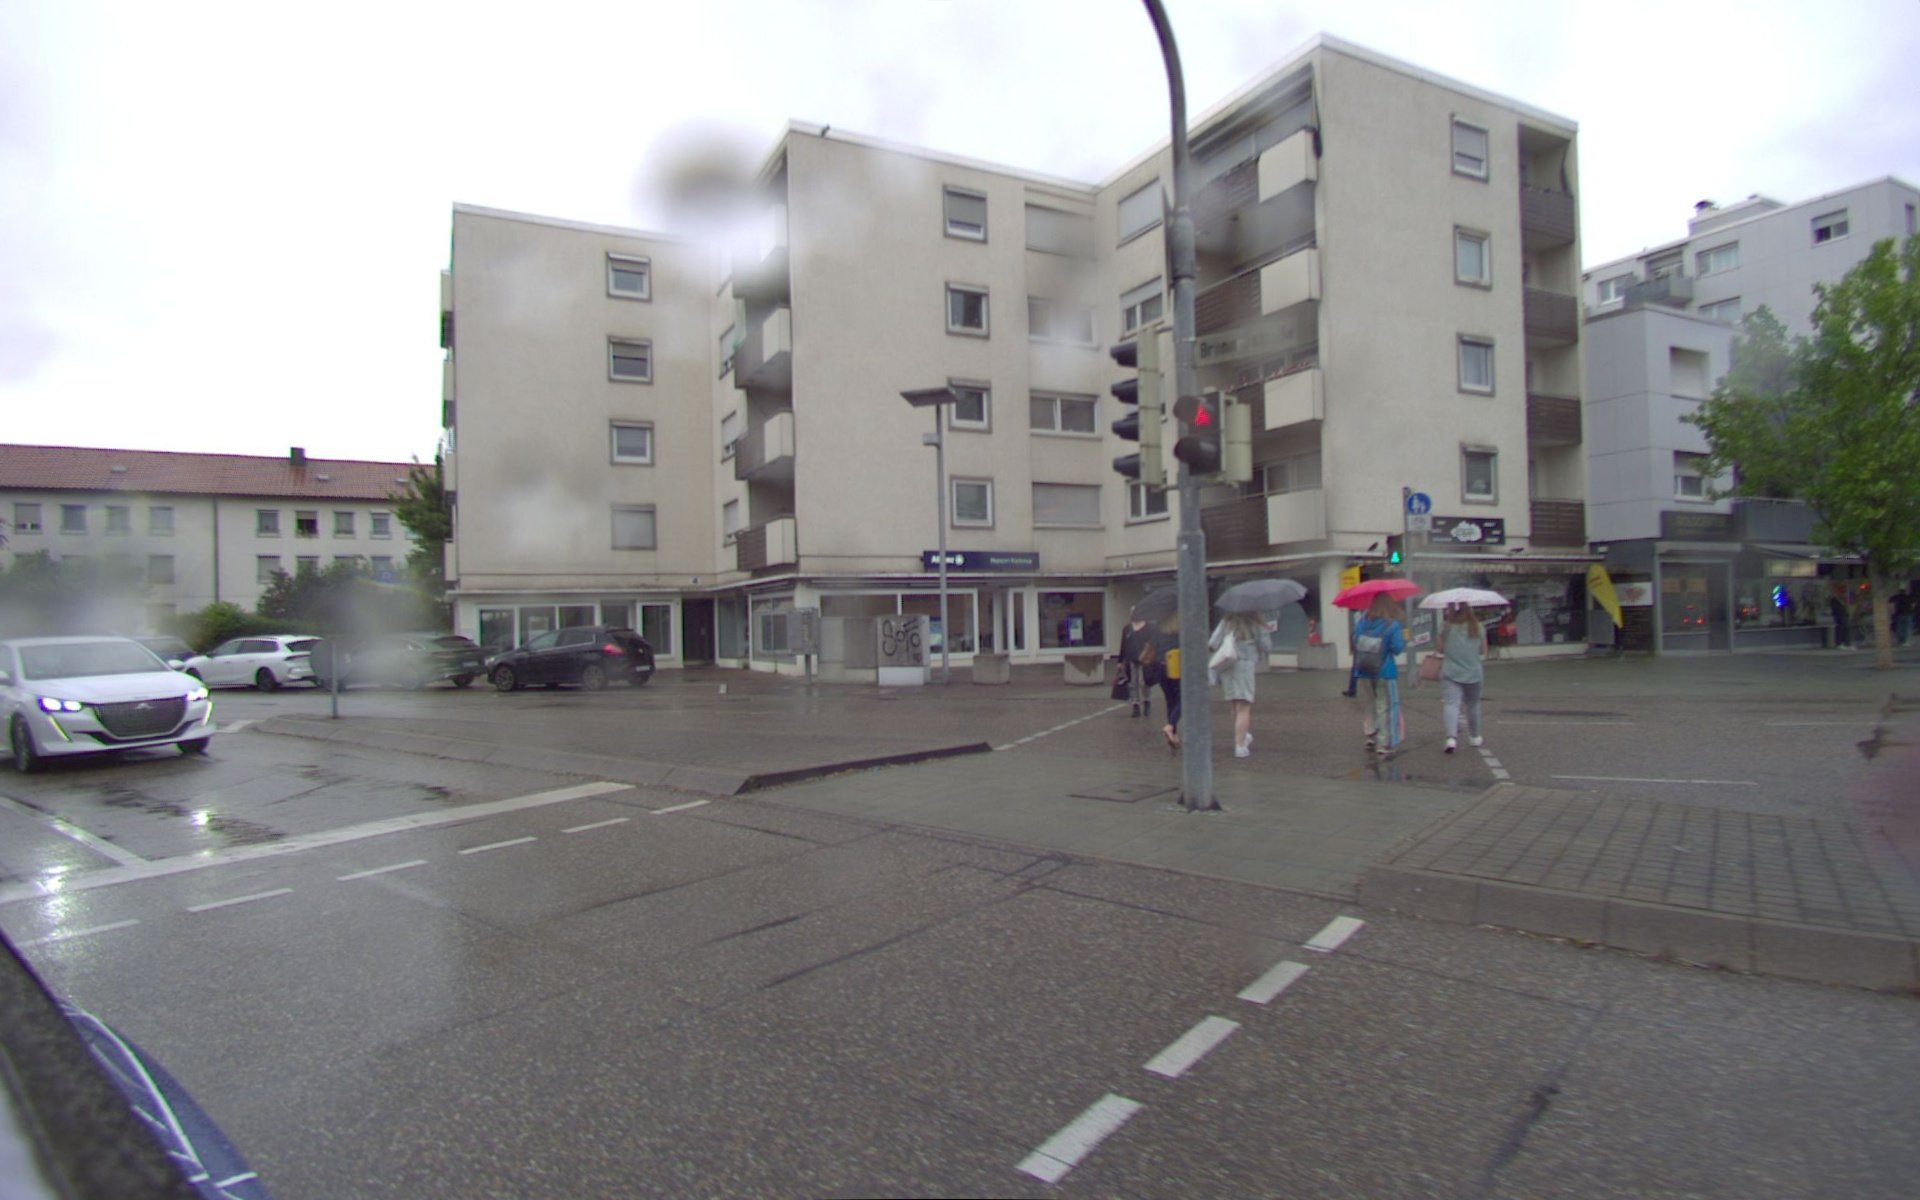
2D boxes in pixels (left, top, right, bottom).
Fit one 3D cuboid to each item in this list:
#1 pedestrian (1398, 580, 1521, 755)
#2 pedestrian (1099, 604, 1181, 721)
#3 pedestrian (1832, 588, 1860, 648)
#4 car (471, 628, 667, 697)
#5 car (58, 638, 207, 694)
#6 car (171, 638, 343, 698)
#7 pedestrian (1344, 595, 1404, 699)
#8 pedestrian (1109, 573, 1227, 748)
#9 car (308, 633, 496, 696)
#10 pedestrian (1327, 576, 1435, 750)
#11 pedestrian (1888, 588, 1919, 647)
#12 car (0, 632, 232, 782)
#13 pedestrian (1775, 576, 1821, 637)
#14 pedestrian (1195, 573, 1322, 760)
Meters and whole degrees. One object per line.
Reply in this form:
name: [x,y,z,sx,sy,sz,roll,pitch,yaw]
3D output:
pedestrian: [5.145,0.661,10.420,0.916,1.690,0.926,-2,-1,40]
pedestrian: [2.550,0.869,14.343,0.914,1.597,0.648,-3,-2,44]
pedestrian: [25.882,0.517,29.562,0.492,1.737,0.450,0,-2,-33]
car: [-9.322,1.479,24.167,4.154,1.471,1.826,-2,0,19]
car: [-24.236,1.930,29.652,3.850,1.517,1.624,-2,-1,19]
car: [-19.244,1.841,27.711,4.311,1.511,1.628,-2,-1,19]
pedestrian: [6.899,0.773,16.866,0.811,1.668,0.707,-2,-2,29]
pedestrian: [2.225,0.622,10.803,0.952,1.749,0.826,-2,-2,37]
car: [-14.299,1.645,25.967,4.239,1.445,1.827,-2,0,18]
pedestrian: [4.340,0.627,10.444,0.807,1.698,0.664,-2,-2,45]
pedestrian: [29.440,0.556,31.522,0.483,1.807,0.570,-1,-2,-24]
car: [-10.494,1.177,11.939,3.883,1.420,1.726,-3,0,32]
pedestrian: [28.229,0.221,34.111,0.909,2.029,0.877,-1,-1,-30]
pedestrian: [3.028,0.638,10.244,0.858,1.757,1.124,-2,-1,37]
